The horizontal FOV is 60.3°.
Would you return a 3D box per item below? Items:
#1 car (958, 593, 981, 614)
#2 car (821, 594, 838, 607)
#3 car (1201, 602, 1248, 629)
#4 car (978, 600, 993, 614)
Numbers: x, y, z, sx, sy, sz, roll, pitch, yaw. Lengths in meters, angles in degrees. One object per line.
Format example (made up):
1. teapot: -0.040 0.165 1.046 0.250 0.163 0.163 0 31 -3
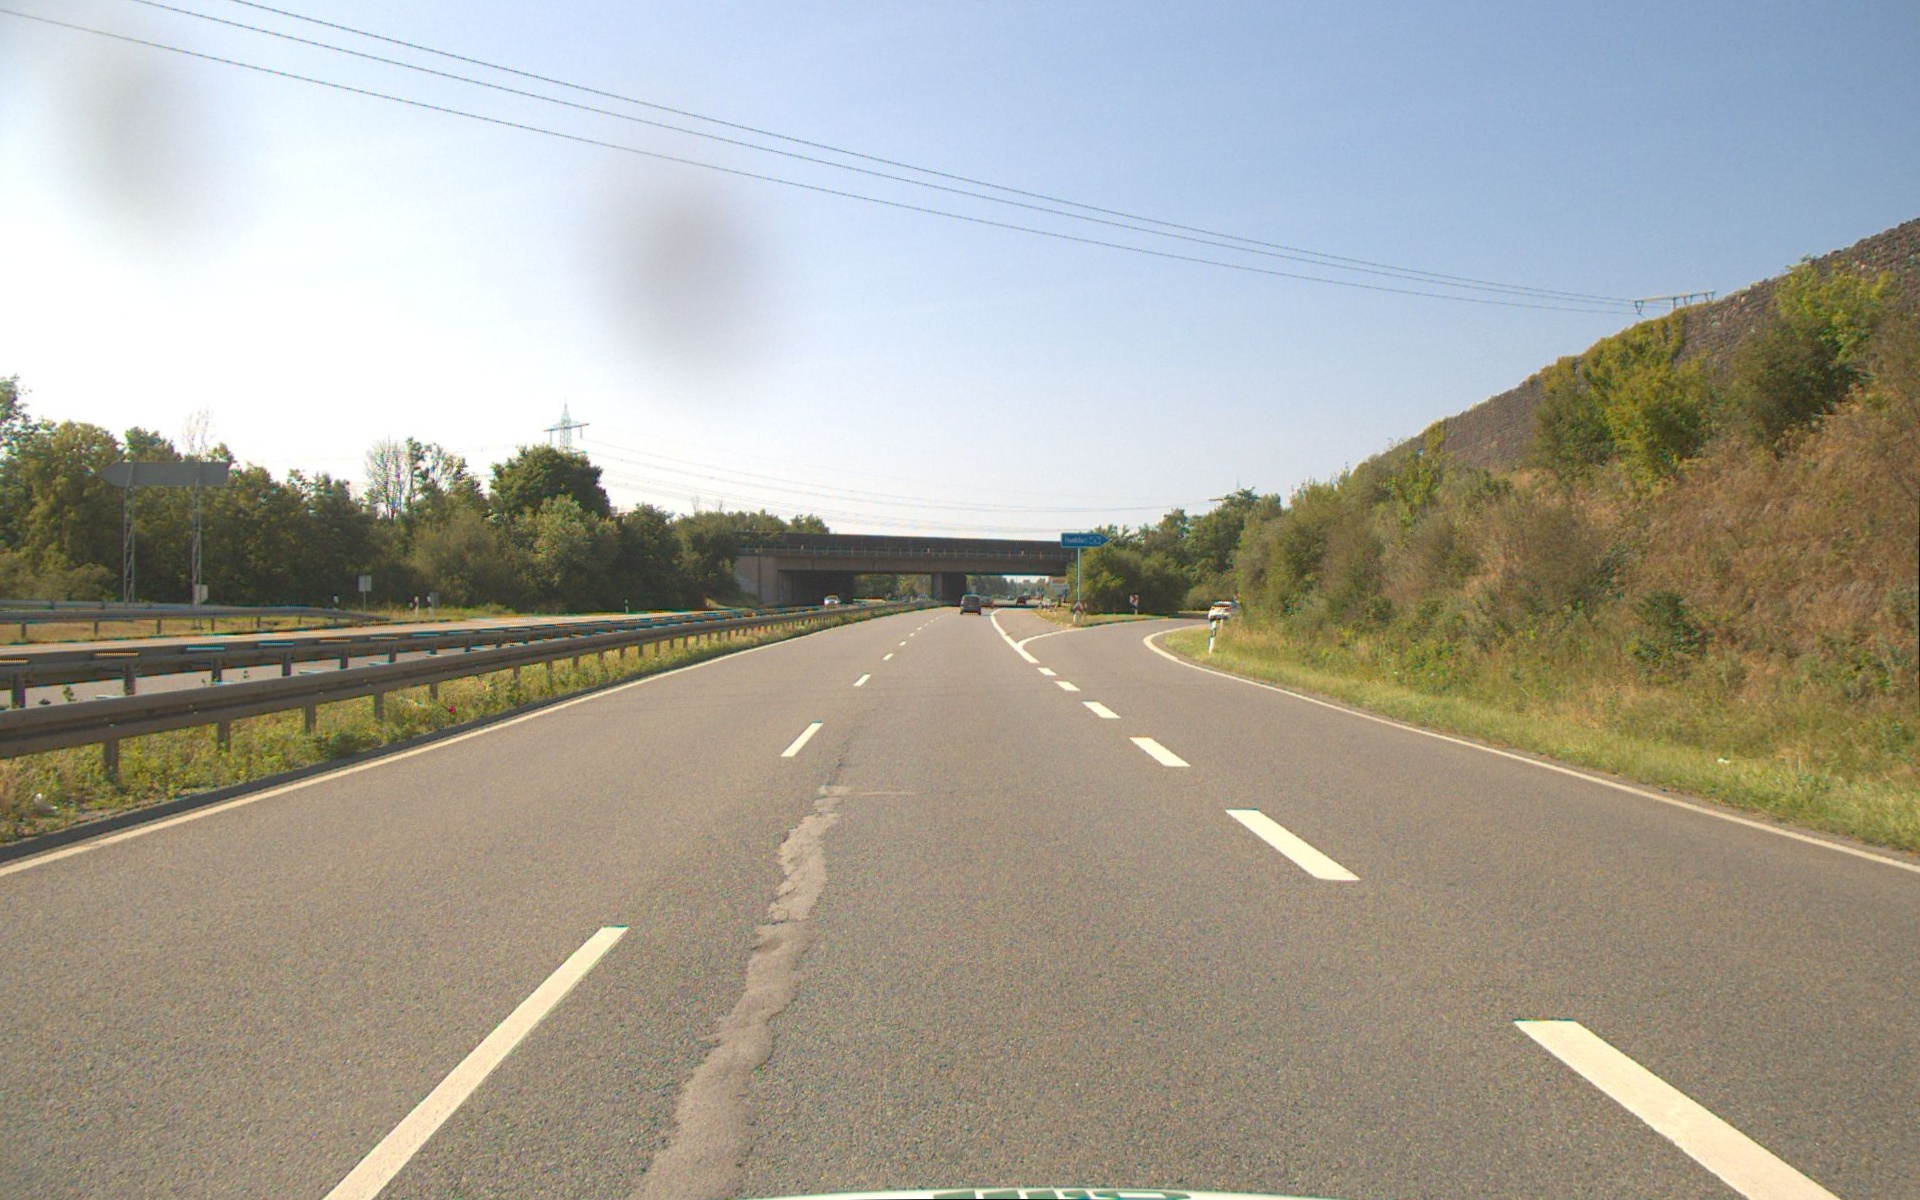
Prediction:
1. car: 0.842 0.316 140.016 1.811 1.673 4.001 1 0 2
2. car: -16.023 0.036 202.782 1.640 1.434 3.763 2 0 1
3. car: 18.668 1.107 116.547 1.764 1.694 3.989 3 0 32
4. car: 3.221 0.905 208.311 1.811 1.673 4.001 1 0 2
